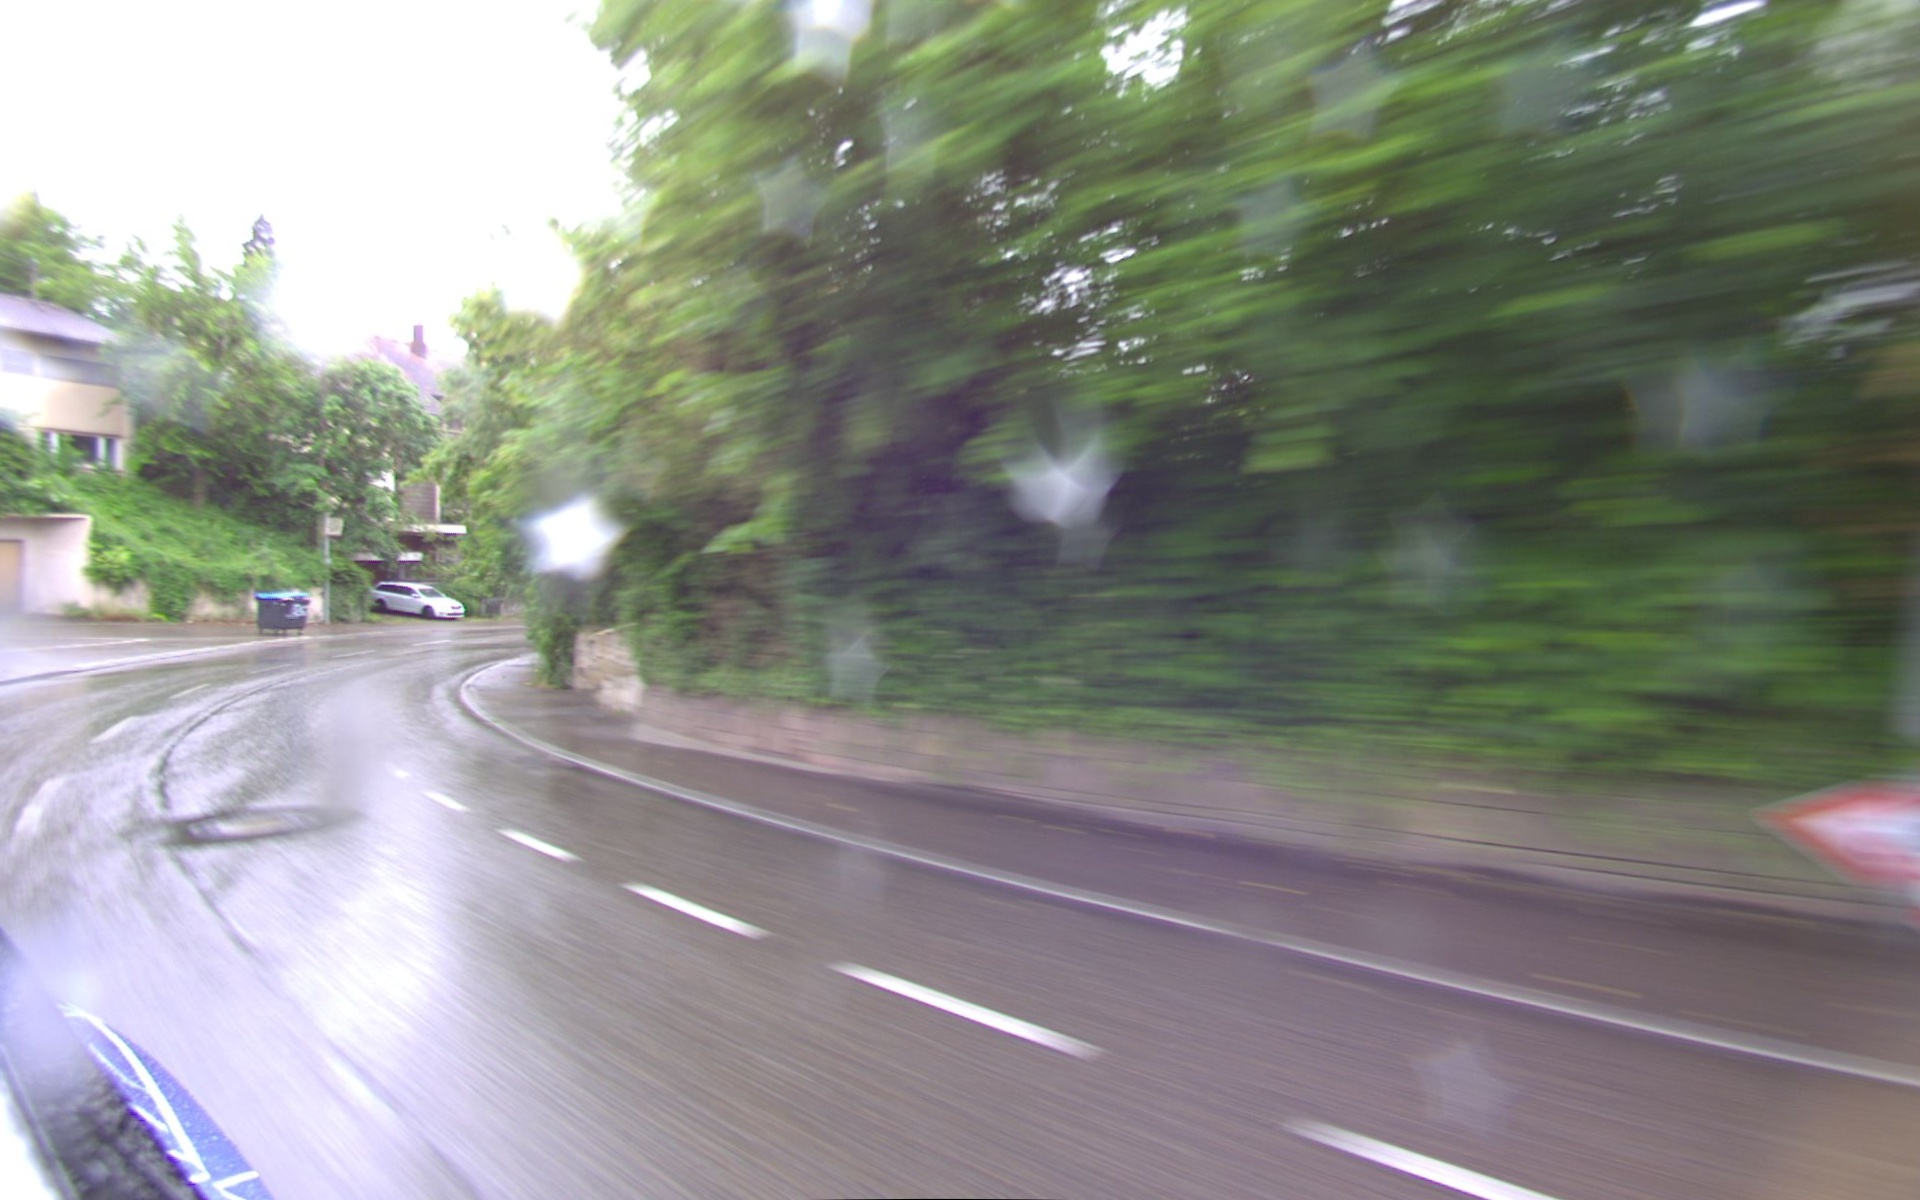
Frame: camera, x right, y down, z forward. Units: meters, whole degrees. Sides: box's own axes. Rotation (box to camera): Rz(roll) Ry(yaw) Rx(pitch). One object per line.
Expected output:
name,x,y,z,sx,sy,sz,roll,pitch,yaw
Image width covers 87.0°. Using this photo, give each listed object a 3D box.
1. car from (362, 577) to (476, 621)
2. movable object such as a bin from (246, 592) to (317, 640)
car,-25.594,-0.042,47.914,4.523,1.564,1.991,7,1,14
movable object such as a bin,-22.278,0.521,33.266,1.149,1.419,1.478,6,0,14
